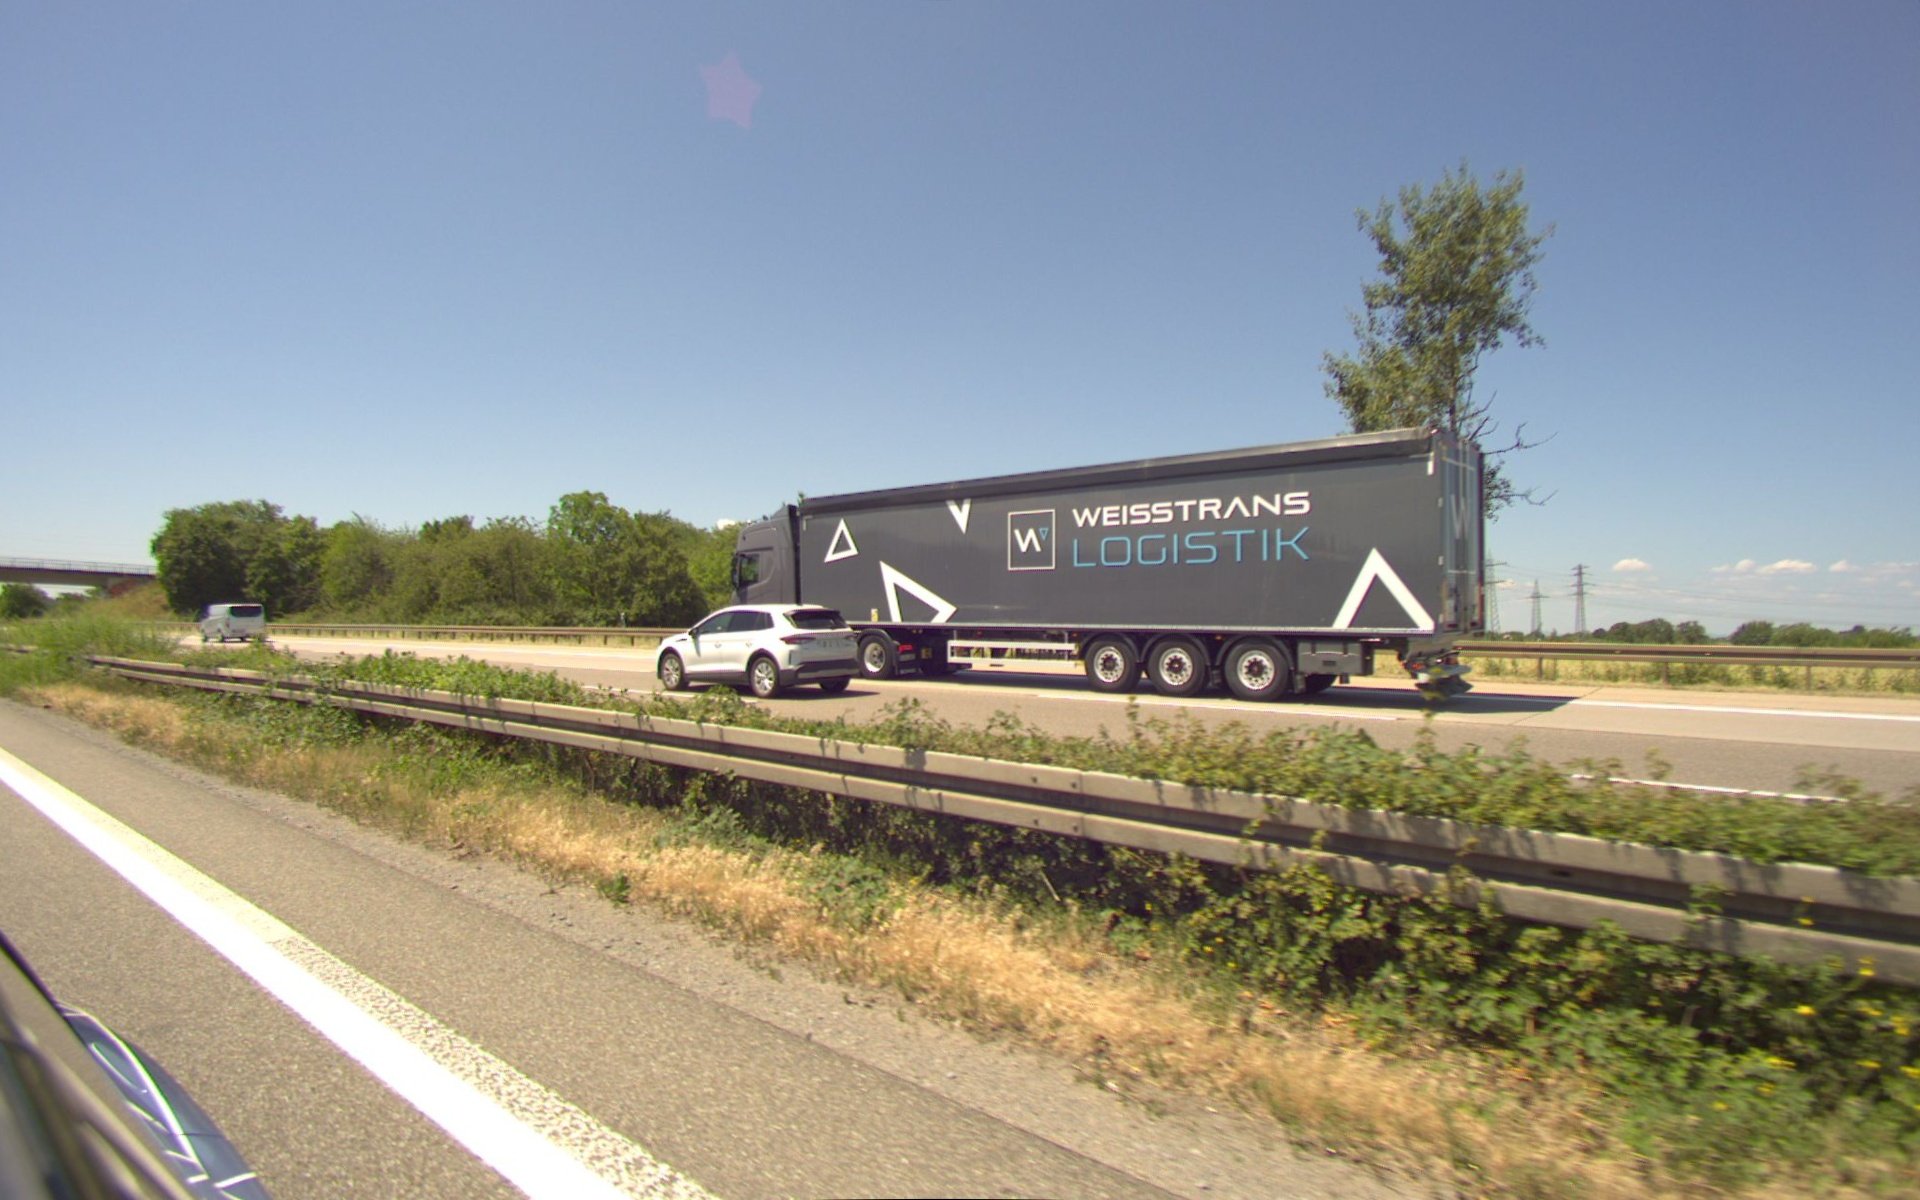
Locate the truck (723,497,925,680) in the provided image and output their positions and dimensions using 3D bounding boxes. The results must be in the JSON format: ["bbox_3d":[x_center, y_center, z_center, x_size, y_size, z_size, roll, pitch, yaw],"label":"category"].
[{"bbox_3d":[-3.276,-0.207,24.143,3.998,3.945,2.864,-1,-1,41],"label":"truck"}]

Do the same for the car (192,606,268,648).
[{"bbox_3d":[-38.819,1.416,53.771,5.404,2.086,2.037,-1,-2,40],"label":"car"}]

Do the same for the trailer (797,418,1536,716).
[{"bbox_3d":[2.641,-0.329,19.129,14.046,3.978,2.851,-1,-1,40],"label":"trailer"}]

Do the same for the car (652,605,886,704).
[{"bbox_3d":[-3.596,0.926,18.610,4.483,1.598,1.824,-1,-1,40],"label":"car"}]
